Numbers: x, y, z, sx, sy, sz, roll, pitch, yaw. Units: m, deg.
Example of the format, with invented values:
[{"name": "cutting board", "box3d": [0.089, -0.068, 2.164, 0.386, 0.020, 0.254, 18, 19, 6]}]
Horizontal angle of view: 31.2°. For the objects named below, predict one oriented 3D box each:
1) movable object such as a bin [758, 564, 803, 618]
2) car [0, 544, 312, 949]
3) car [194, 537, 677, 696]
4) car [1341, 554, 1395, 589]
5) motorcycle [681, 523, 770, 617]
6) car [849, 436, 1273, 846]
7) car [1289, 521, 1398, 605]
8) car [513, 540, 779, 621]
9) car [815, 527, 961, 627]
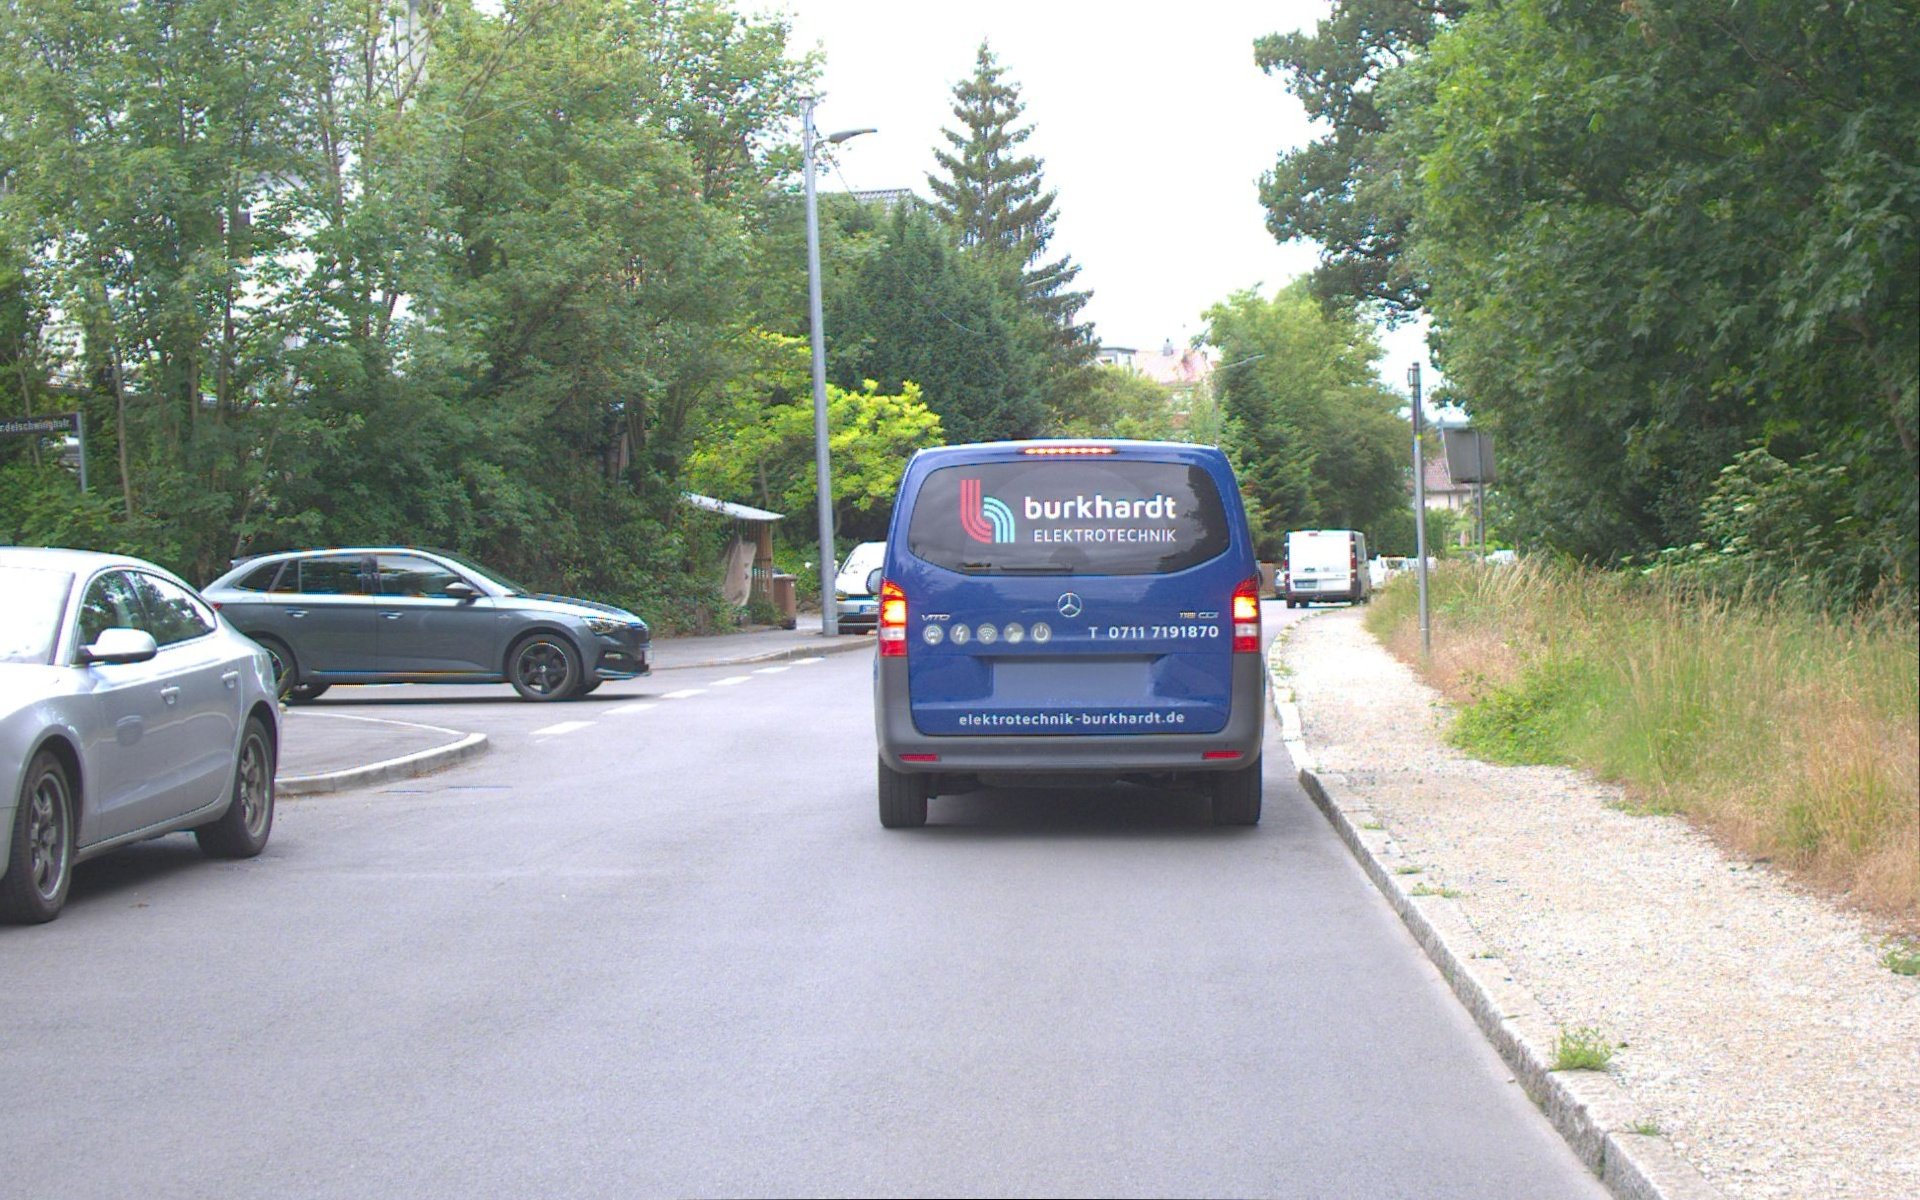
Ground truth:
[{"name": "movable object such as a bin", "box3d": [-2.991, -0.154, 57.312, 0.591, 0.906, 0.700, 0, 1, 13]}, {"name": "car", "box3d": [-4.117, 0.475, 14.062, 1.831, 1.369, 4.445, 0, 1, 4]}, {"name": "car", "box3d": [-4.860, 0.142, 32.158, 4.167, 1.442, 1.740, 0, 1, 5]}, {"name": "car", "box3d": [16.493, -1.163, 138.798, 1.750, 1.400, 3.998, 0, 1, 13]}, {"name": "motorcycle", "box3d": [-3.757, -0.489, 55.293, 0.810, 1.480, 2.895, 0, 1, 9]}, {"name": "car", "box3d": [0.549, 0.134, 18.042, 1.936, 1.873, 4.530, 0, 1, 2]}, {"name": "car", "box3d": [9.905, -0.974, 88.323, 2.207, 2.056, 6.132, -1, 1, 12]}, {"name": "car", "box3d": [-5.677, -0.353, 62.385, 4.483, 1.436, 1.878, 0, 1, 10]}, {"name": "car", "box3d": [-1.061, -0.366, 52.550, 1.706, 1.462, 4.075, 0, 1, 7]}]
